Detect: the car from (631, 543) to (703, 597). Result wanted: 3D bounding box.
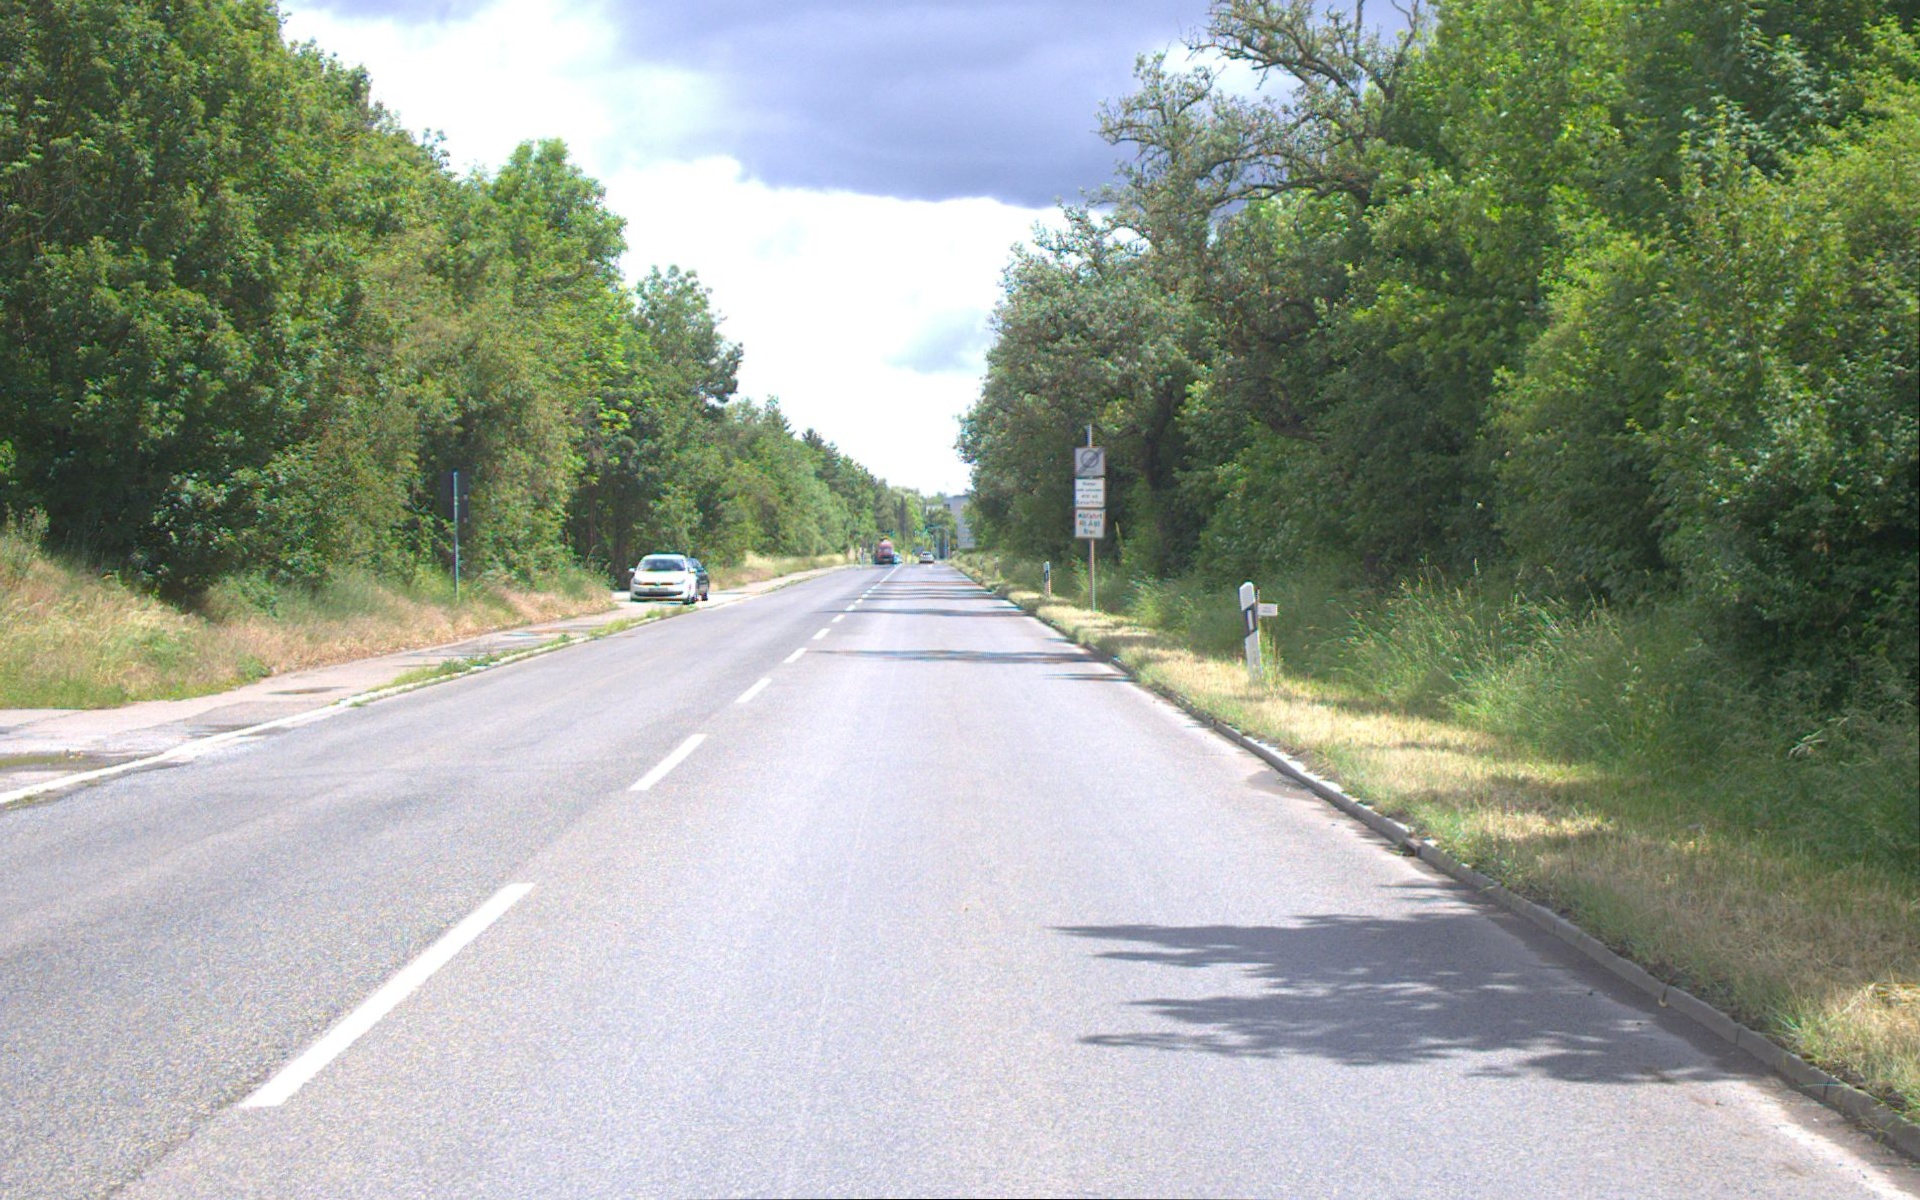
[{"bbox_3d":[-8.709,-0.887,102.473,1.798,1.538,3.955,-1,0,0],"label":"car"}]
